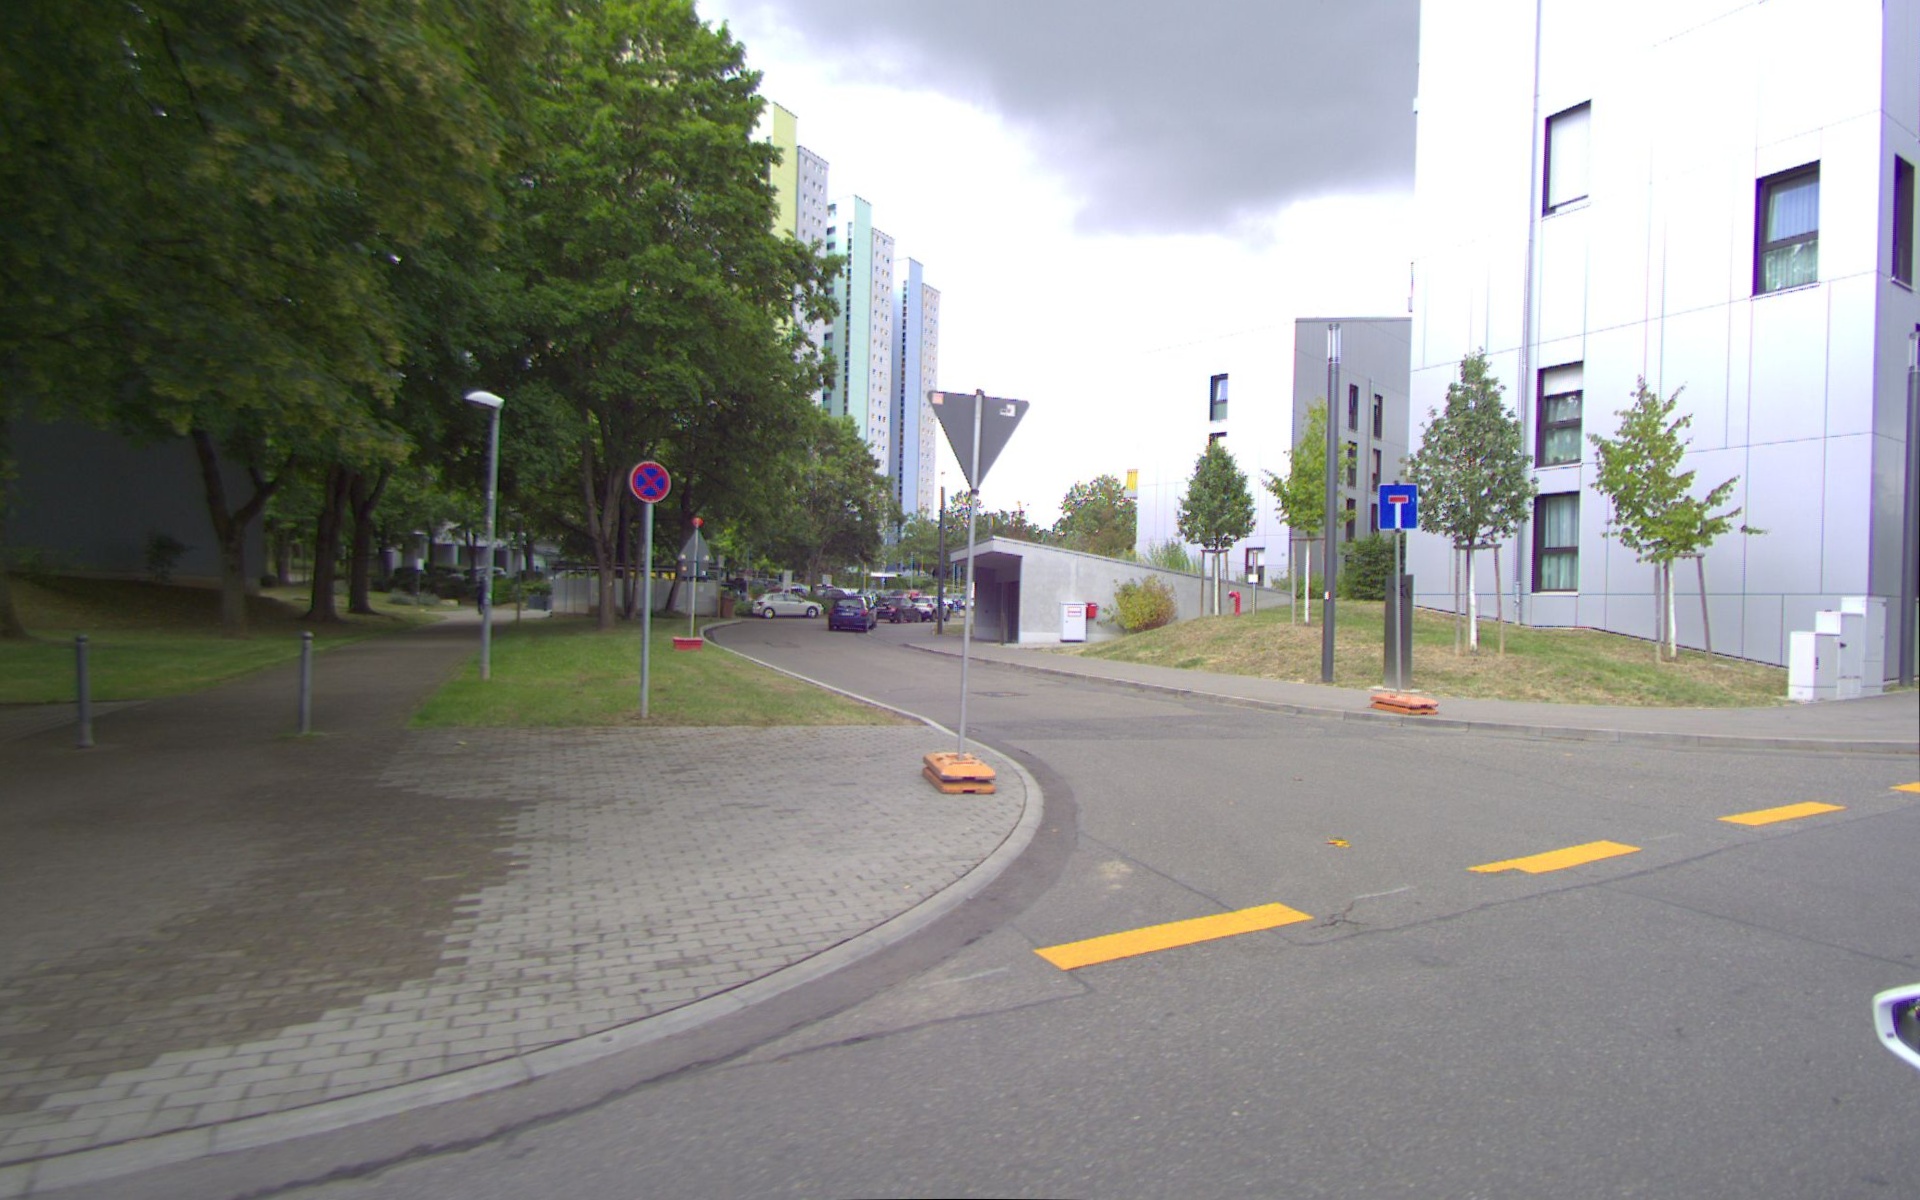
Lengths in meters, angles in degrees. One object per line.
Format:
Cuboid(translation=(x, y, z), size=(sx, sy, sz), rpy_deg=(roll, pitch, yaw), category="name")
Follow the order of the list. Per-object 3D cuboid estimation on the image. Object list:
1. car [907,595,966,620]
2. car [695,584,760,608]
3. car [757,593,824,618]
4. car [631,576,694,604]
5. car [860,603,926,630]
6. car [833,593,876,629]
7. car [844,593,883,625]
Cuboid(translation=(-1.337, 0.443, 59.001), size=(1.801, 1.391, 3.613), rpy_deg=(1, 0, 31), category="car")
Cuboid(translation=(-14.255, -0.224, 61.587), size=(3.590, 1.391, 1.482), rpy_deg=(1, 0, -39), category="car")
Cuboid(translation=(-9.768, 0.303, 57.808), size=(3.566, 1.391, 1.492), rpy_deg=(1, 0, -20), category="car")
Cuboid(translation=(-18.964, -0.634, 64.152), size=(3.590, 1.685, 1.482), rpy_deg=(1, 0, -39), category="car")
Cuboid(translation=(-3.555, 0.879, 54.215), size=(1.801, 1.391, 3.613), rpy_deg=(1, 0, 31), category="car")
Cuboid(translation=(-4.345, 0.425, 41.743), size=(1.470, 1.391, 3.620), rpy_deg=(1, 0, -2), category="car")
Cuboid(translation=(-4.386, 0.385, 45.986), size=(1.470, 1.391, 3.620), rpy_deg=(1, 0, -2), category="car")
